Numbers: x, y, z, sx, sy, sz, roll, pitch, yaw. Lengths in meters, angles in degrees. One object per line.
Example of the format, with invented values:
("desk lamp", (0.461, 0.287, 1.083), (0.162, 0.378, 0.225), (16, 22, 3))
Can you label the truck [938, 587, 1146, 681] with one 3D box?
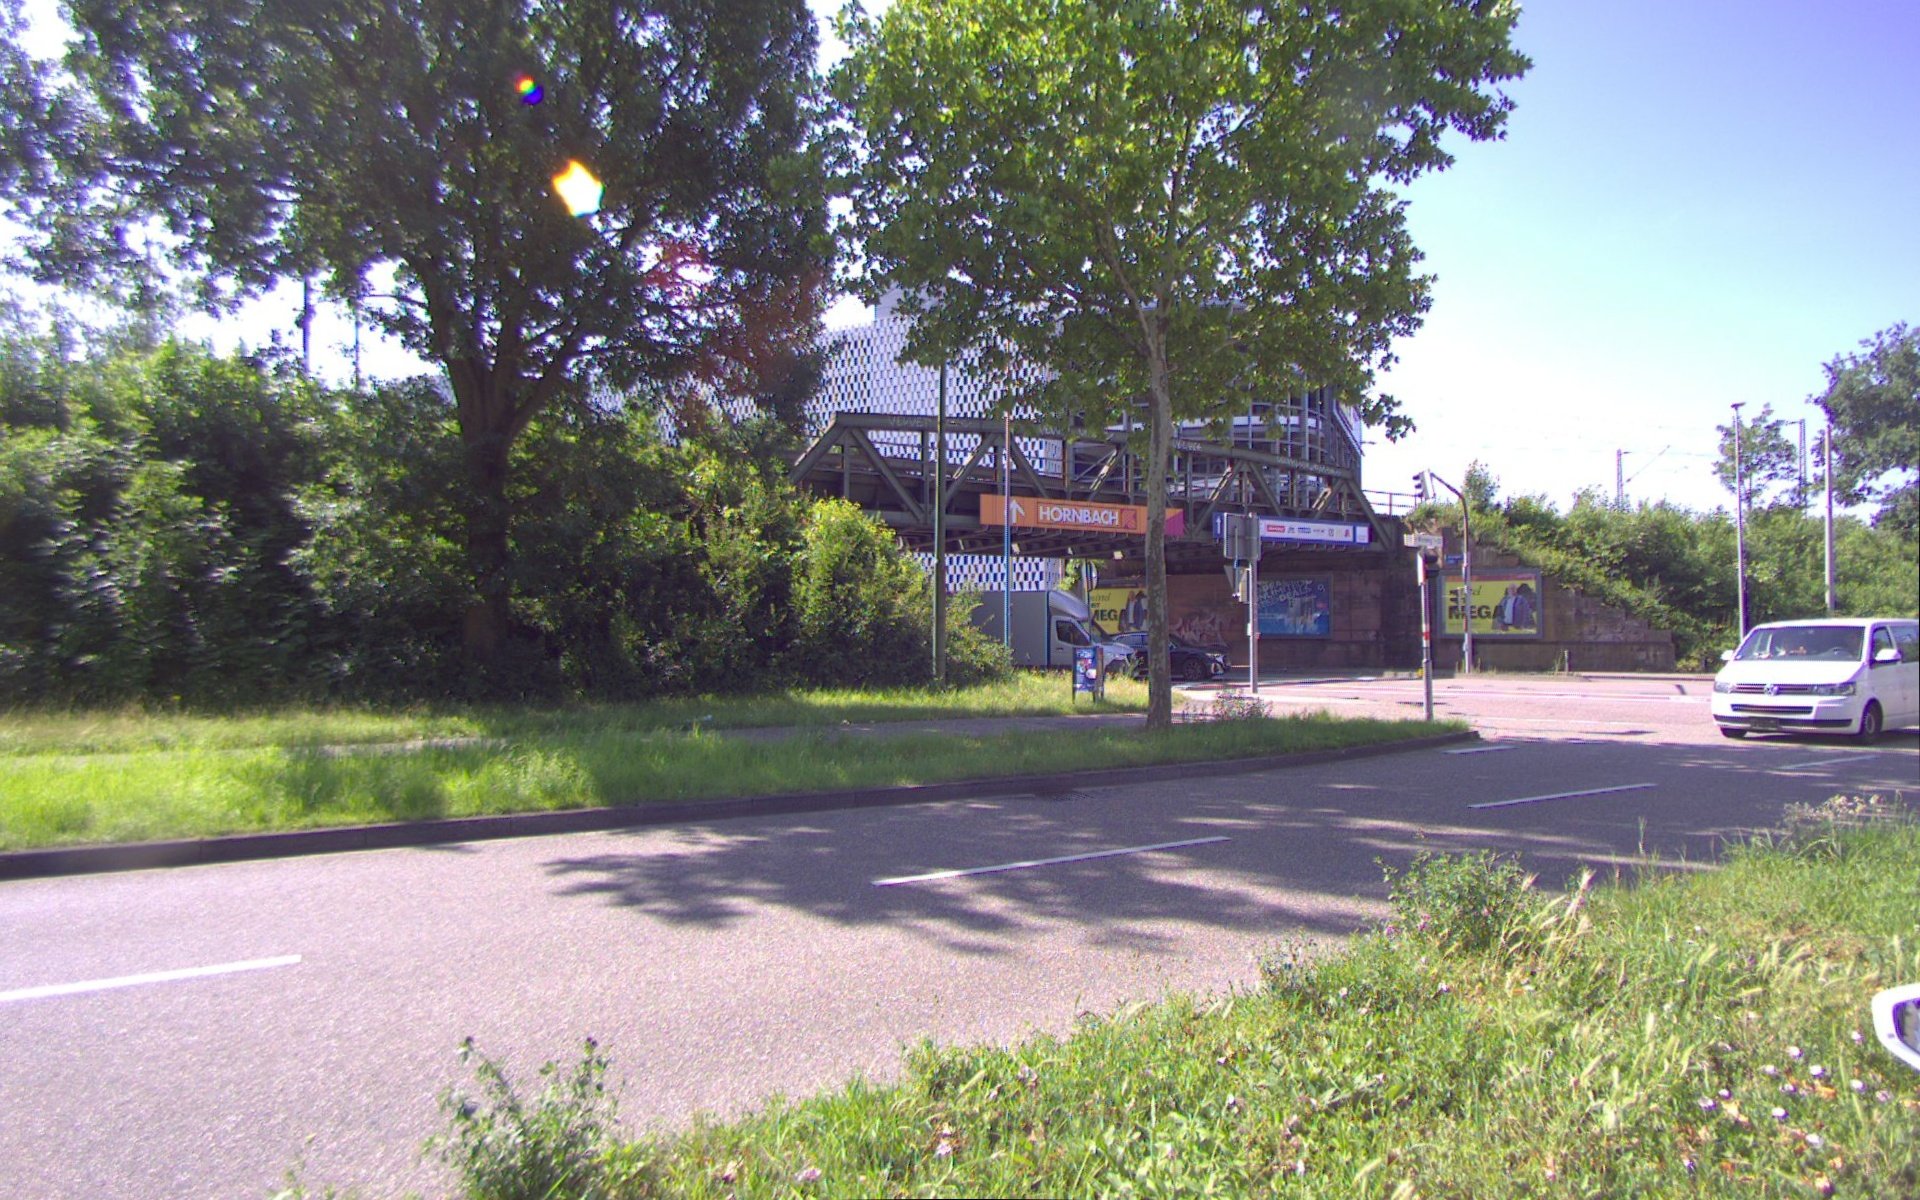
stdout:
("truck", (2.563, 1.015, 31.971), (6.286, 2.748, 1.998), (1, -1, 26))

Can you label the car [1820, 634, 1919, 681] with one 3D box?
("car", (31.078, 1.892, 32.837), (4.142, 1.427, 1.918), (1, -1, 7))

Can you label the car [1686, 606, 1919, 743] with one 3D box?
("car", (14.139, 1.166, 16.279), (4.929, 1.915, 1.985), (2, -4, -30))

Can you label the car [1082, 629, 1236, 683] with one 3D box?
("car", (6.794, 1.882, 34.463), (4.957, 1.617, 1.526), (1, -1, 24))
